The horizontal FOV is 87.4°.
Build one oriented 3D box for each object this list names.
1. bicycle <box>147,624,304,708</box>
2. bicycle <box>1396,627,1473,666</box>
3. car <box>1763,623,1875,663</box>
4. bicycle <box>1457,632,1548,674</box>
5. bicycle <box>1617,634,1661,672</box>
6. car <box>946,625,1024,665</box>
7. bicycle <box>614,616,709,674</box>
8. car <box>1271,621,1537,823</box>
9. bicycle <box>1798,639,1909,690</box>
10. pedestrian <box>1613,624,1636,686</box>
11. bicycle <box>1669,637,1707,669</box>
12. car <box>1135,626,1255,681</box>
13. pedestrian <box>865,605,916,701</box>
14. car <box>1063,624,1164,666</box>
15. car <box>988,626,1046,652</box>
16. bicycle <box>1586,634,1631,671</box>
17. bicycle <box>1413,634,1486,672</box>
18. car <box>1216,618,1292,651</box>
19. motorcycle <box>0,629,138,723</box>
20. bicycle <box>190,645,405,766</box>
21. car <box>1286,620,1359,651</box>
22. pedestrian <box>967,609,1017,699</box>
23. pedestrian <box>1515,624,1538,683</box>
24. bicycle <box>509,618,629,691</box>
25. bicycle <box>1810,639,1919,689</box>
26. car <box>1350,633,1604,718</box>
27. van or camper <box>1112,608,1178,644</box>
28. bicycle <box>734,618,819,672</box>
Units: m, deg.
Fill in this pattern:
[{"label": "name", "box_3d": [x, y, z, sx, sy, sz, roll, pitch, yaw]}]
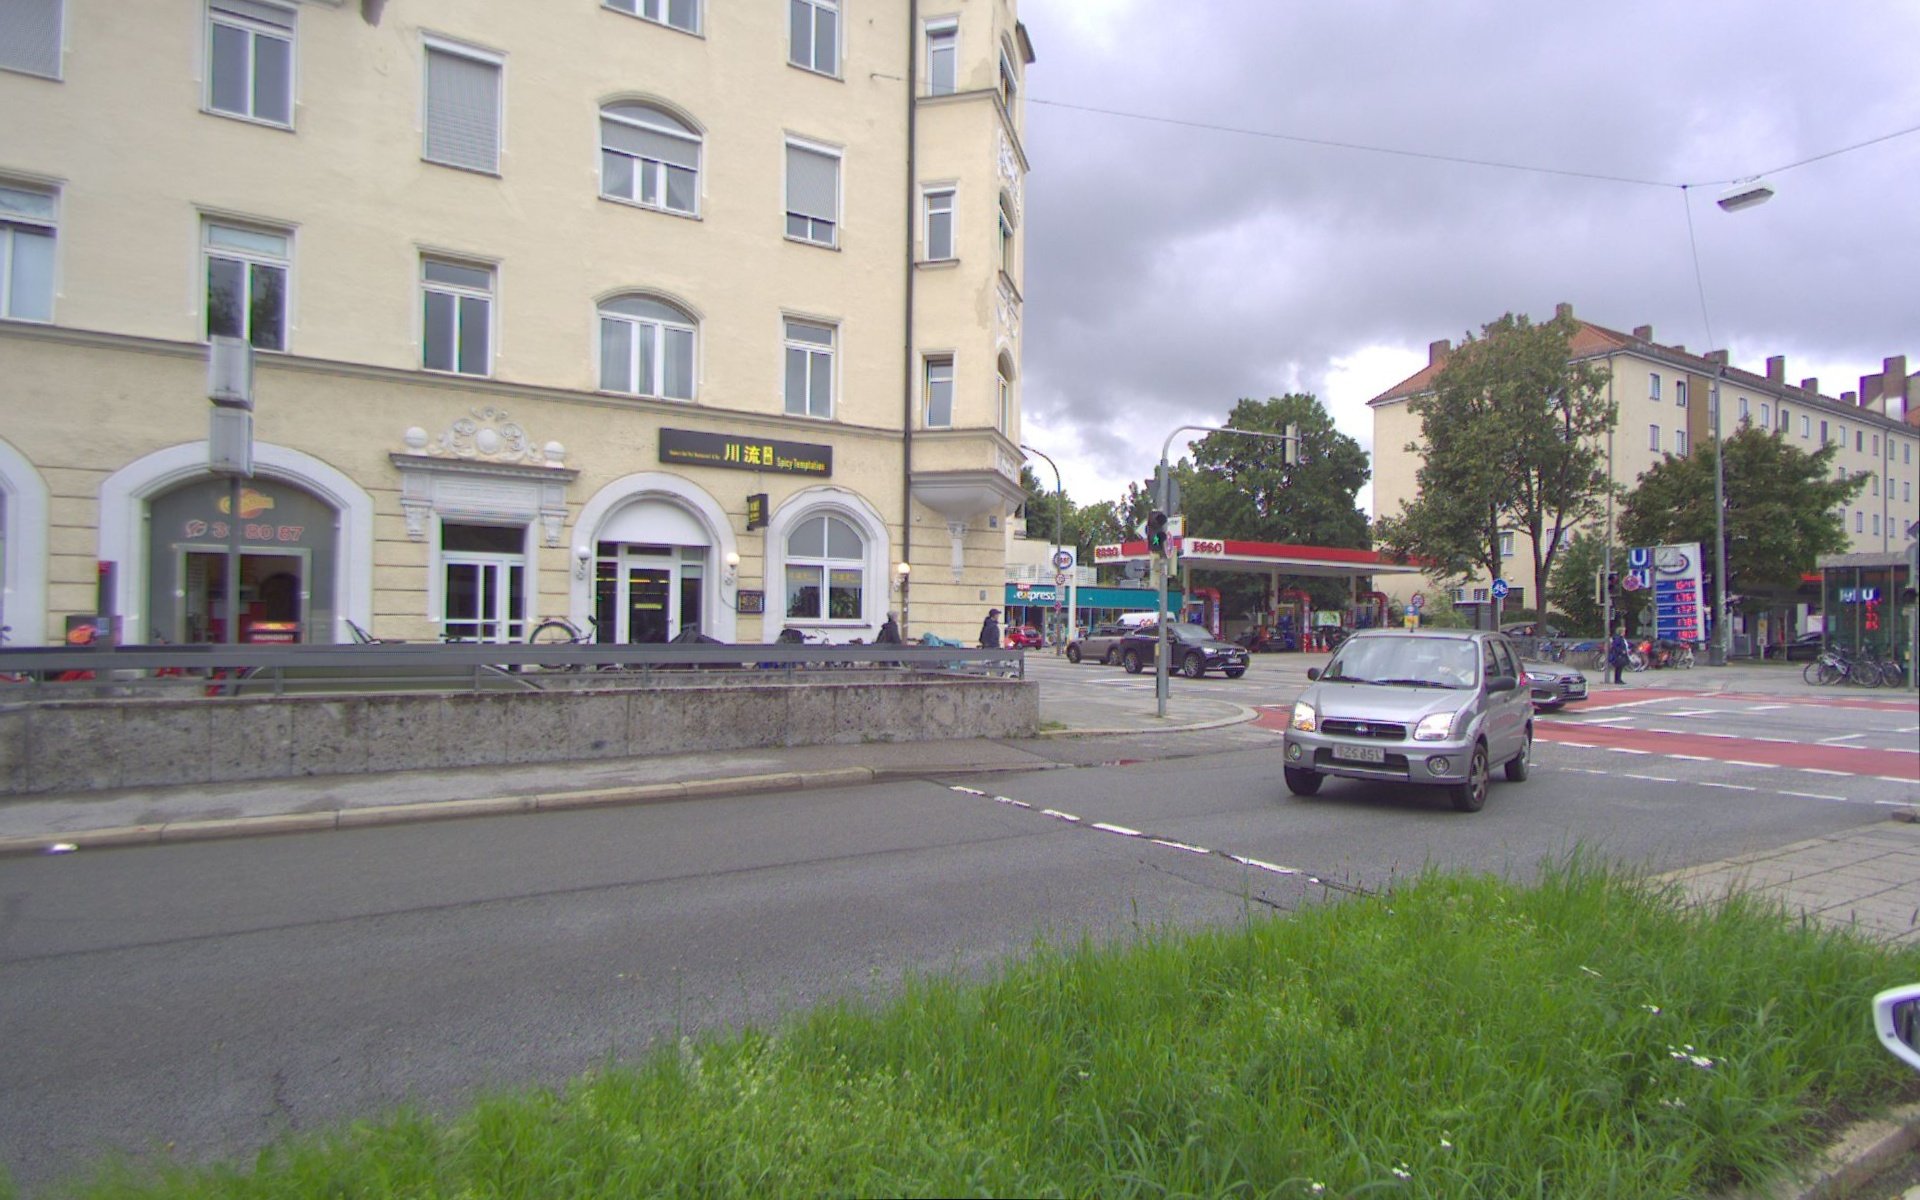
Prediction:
[{"label": "bicycle", "box_3d": [-9.183, 0.810, 12.623, 1.527, 0.993, 0.470, 1, -1, -30]}, {"label": "bicycle", "box_3d": [16.980, 1.655, 36.001, 0.785, 1.267, 2.374, 2, 0, -40]}, {"label": "car", "box_3d": [43.344, 2.138, 50.754, 1.860, 1.862, 3.965, 1, -1, -32]}, {"label": "bicycle", "box_3d": [18.463, 1.792, 34.234, 2.664, 1.267, 0.792, 2, 0, 30]}, {"label": "bicycle", "box_3d": [23.412, 1.805, 34.625, 2.167, 1.252, 0.603, 1, -1, -37]}, {"label": "car", "box_3d": [0.993, 1.841, 41.697, 1.677, 1.534, 3.308, 1, -1, -32]}, {"label": "bicycle", "box_3d": [-5.254, 0.783, 17.706, 1.527, 0.993, 0.470, 1, -1, -30]}, {"label": "car", "box_3d": [4.418, 0.994, 9.707, 1.637, 1.537, 3.618, 0, -1, 36]}, {"label": "bicycle", "box_3d": [25.212, 1.793, 28.397, 0.695, 1.322, 2.262, 1, -1, -28]}, {"label": "pedestrian", "box_3d": [18.871, 1.553, 28.535, 0.527, 1.717, 0.575, 0, -1, 34]}, {"label": "bicycle", "box_3d": [26.807, 1.931, 36.964, 1.947, 1.160, 0.603, 1, -1, -37]}, {"label": "car", "box_3d": [7.025, 1.573, 30.252, 1.677, 1.534, 3.308, 1, -1, -32]}, {"label": "pedestrian", "box_3d": [-1.288, 0.969, 18.486, 0.762, 1.719, 0.540, 1, -1, -32]}, {"label": "car", "box_3d": [5.974, 1.742, 39.525, 1.676, 1.534, 4.148, 1, -1, -30]}, {"label": "car", "box_3d": [3.681, 2.500, 65.327, 1.848, 1.598, 3.967, 1, -1, -31]}, {"label": "bicycle", "box_3d": [22.434, 1.792, 34.718, 2.167, 1.252, 0.603, 1, -1, -37]}, {"label": "bicycle", "box_3d": [16.923, 1.820, 34.801, 0.760, 1.252, 2.161, 1, -1, -41]}, {"label": "car", "box_3d": [16.543, 1.905, 56.620, 1.836, 1.808, 3.968, 1, -1, -30]}, {"label": "motorcycle", "box_3d": [-11.990, 0.979, 13.268, 1.947, 1.137, 0.610, 1, -1, 10]}, {"label": "bicycle", "box_3d": [-6.725, 1.035, 10.264, 1.798, 1.130, 0.392, 1, -1, -39]}, {"label": "car", "box_3d": [21.952, 2.116, 60.918, 1.836, 1.808, 3.968, 1, -1, -30]}, {"label": "pedestrian", "box_3d": [0.622, 1.045, 19.609, 0.927, 1.719, 0.593, 1, -1, 1]}, {"label": "pedestrian", "box_3d": [16.749, 1.571, 29.710, 0.581, 1.717, 0.576, 0, -1, 29]}, {"label": "bicycle", "box_3d": [-5.564, 0.769, 14.316, 1.527, 0.993, 0.470, 1, -1, -30]}, {"label": "bicycle", "box_3d": [25.885, 1.812, 28.770, 0.685, 1.322, 2.275, 1, -1, -28]}, {"label": "car", "box_3d": [10.020, 1.395, 19.817, 1.644, 1.430, 4.296, 1, -1, -29]}, {"label": "van or camper", "box_3d": [12.605, 1.782, 68.814, 1.898, 2.354, 4.511, 1, -1, -32]}, {"label": "bicycle", "box_3d": [-3.501, 0.847, 19.170, 1.527, 0.993, 0.470, 1, -1, -30]}]
